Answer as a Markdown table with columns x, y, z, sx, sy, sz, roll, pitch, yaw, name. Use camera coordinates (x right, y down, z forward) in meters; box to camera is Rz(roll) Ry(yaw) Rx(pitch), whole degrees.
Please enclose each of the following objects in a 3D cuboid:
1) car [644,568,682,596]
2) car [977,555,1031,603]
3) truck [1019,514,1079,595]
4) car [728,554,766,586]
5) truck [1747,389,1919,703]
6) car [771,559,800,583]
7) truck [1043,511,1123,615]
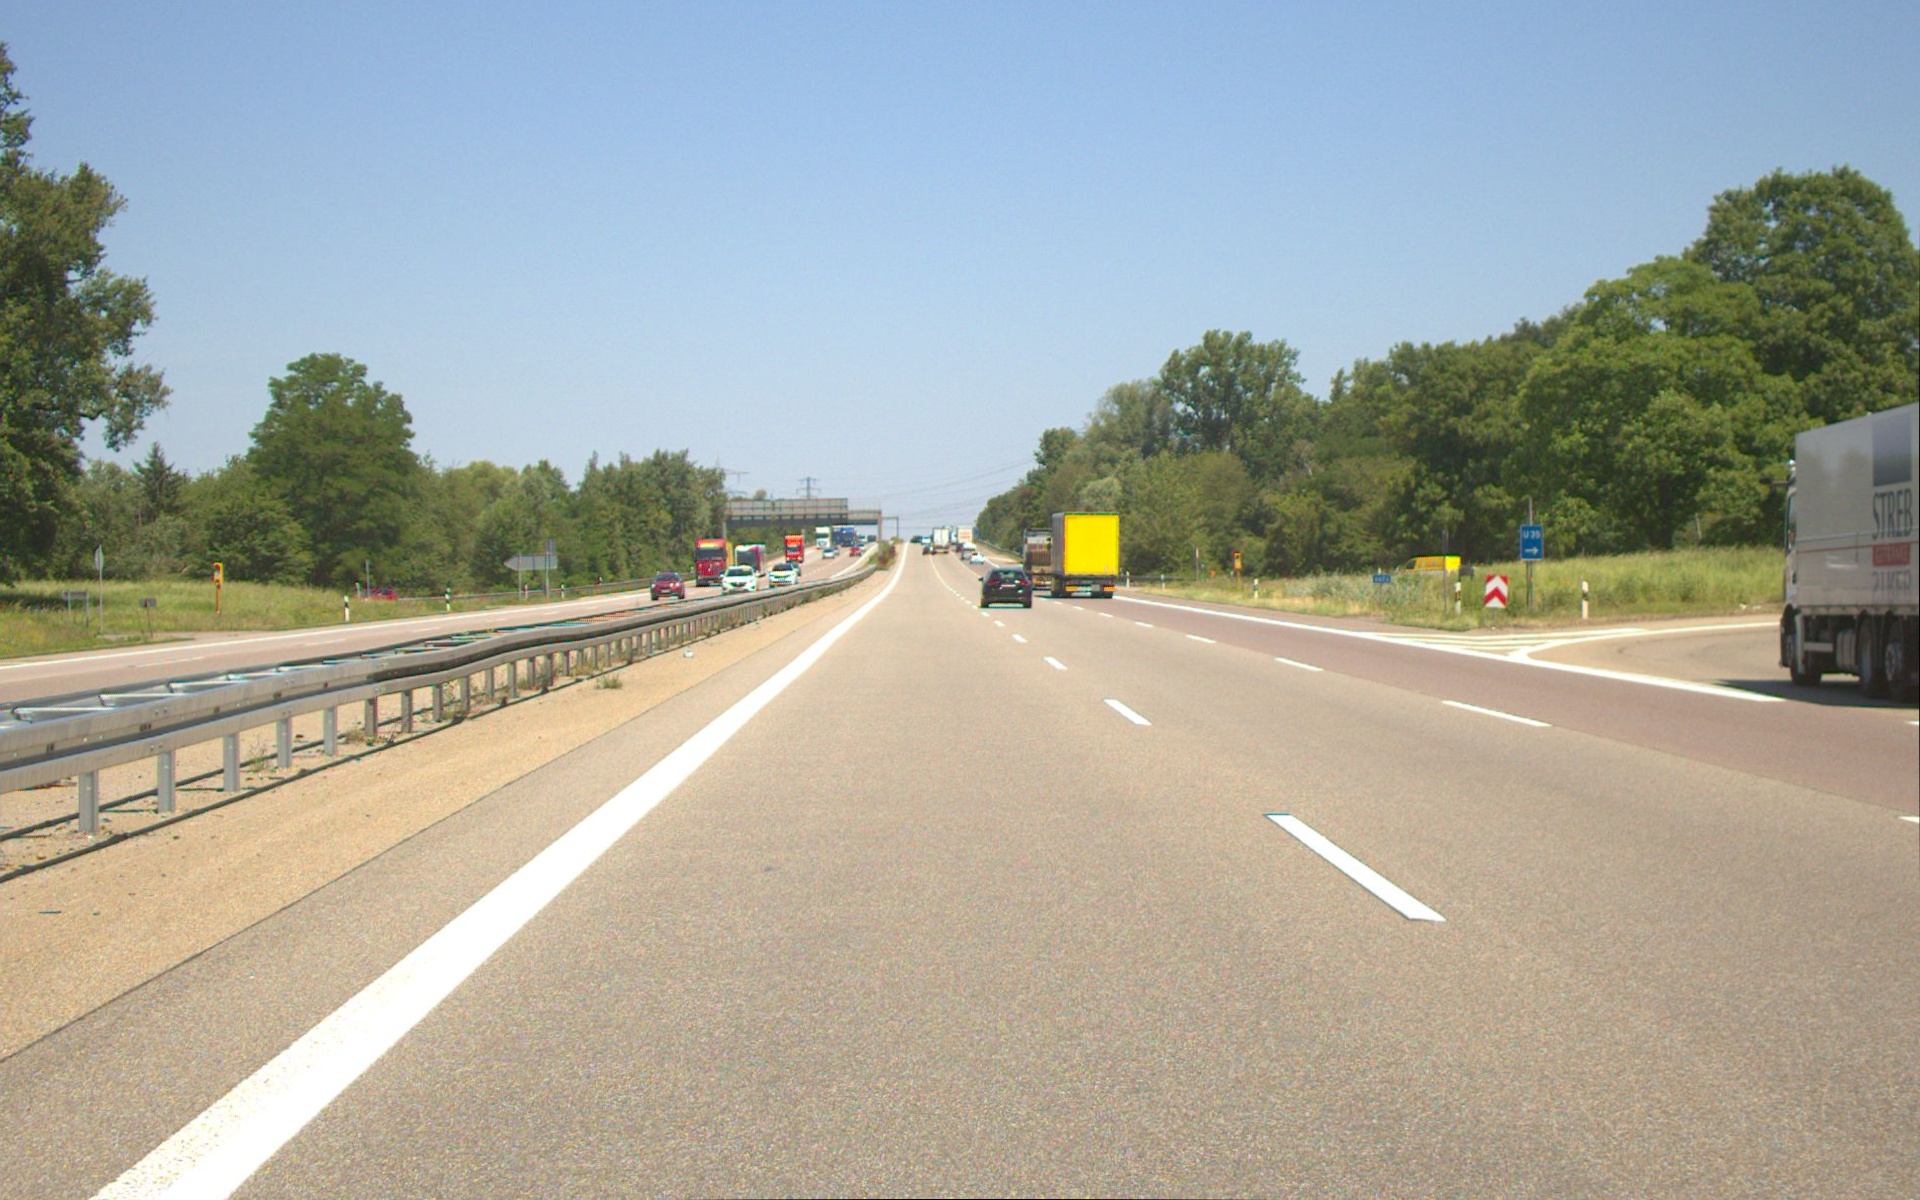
| x | y | z | sx | sy | sz | roll | pitch | yaw | name |
| --- | --- | --- | --- | --- | --- | --- | --- | --- | --- |
| -16.506 | -1.016 | 191.064 | 1.762 | 1.490 | 4.075 | -2 | 1 | -1 | car |
| 1.562 | -0.780 | 124.243 | 1.827 | 1.700 | 4.000 | 1 | 1 | -1 | car |
| 5.538 | -2.809 | 215.578 | 3.367 | 4.864 | 15.086 | 1 | 1 | 0 | truck |
| -11.340 | -1.610 | 183.051 | 1.762 | 1.687 | 4.819 | -1 | 1 | -1 | car |
| 11.930 | -0.605 | 41.422 | 3.028 | 3.308 | 10.769 | 1 | 1 | 4 | truck |
| -12.550 | -2.102 | 247.227 | 1.810 | 1.687 | 5.125 | -1 | 1 | -1 | car |
| 5.955 | -1.810 | 169.126 | 3.377 | 4.864 | 15.086 | 1 | 1 | 0 | truck |
